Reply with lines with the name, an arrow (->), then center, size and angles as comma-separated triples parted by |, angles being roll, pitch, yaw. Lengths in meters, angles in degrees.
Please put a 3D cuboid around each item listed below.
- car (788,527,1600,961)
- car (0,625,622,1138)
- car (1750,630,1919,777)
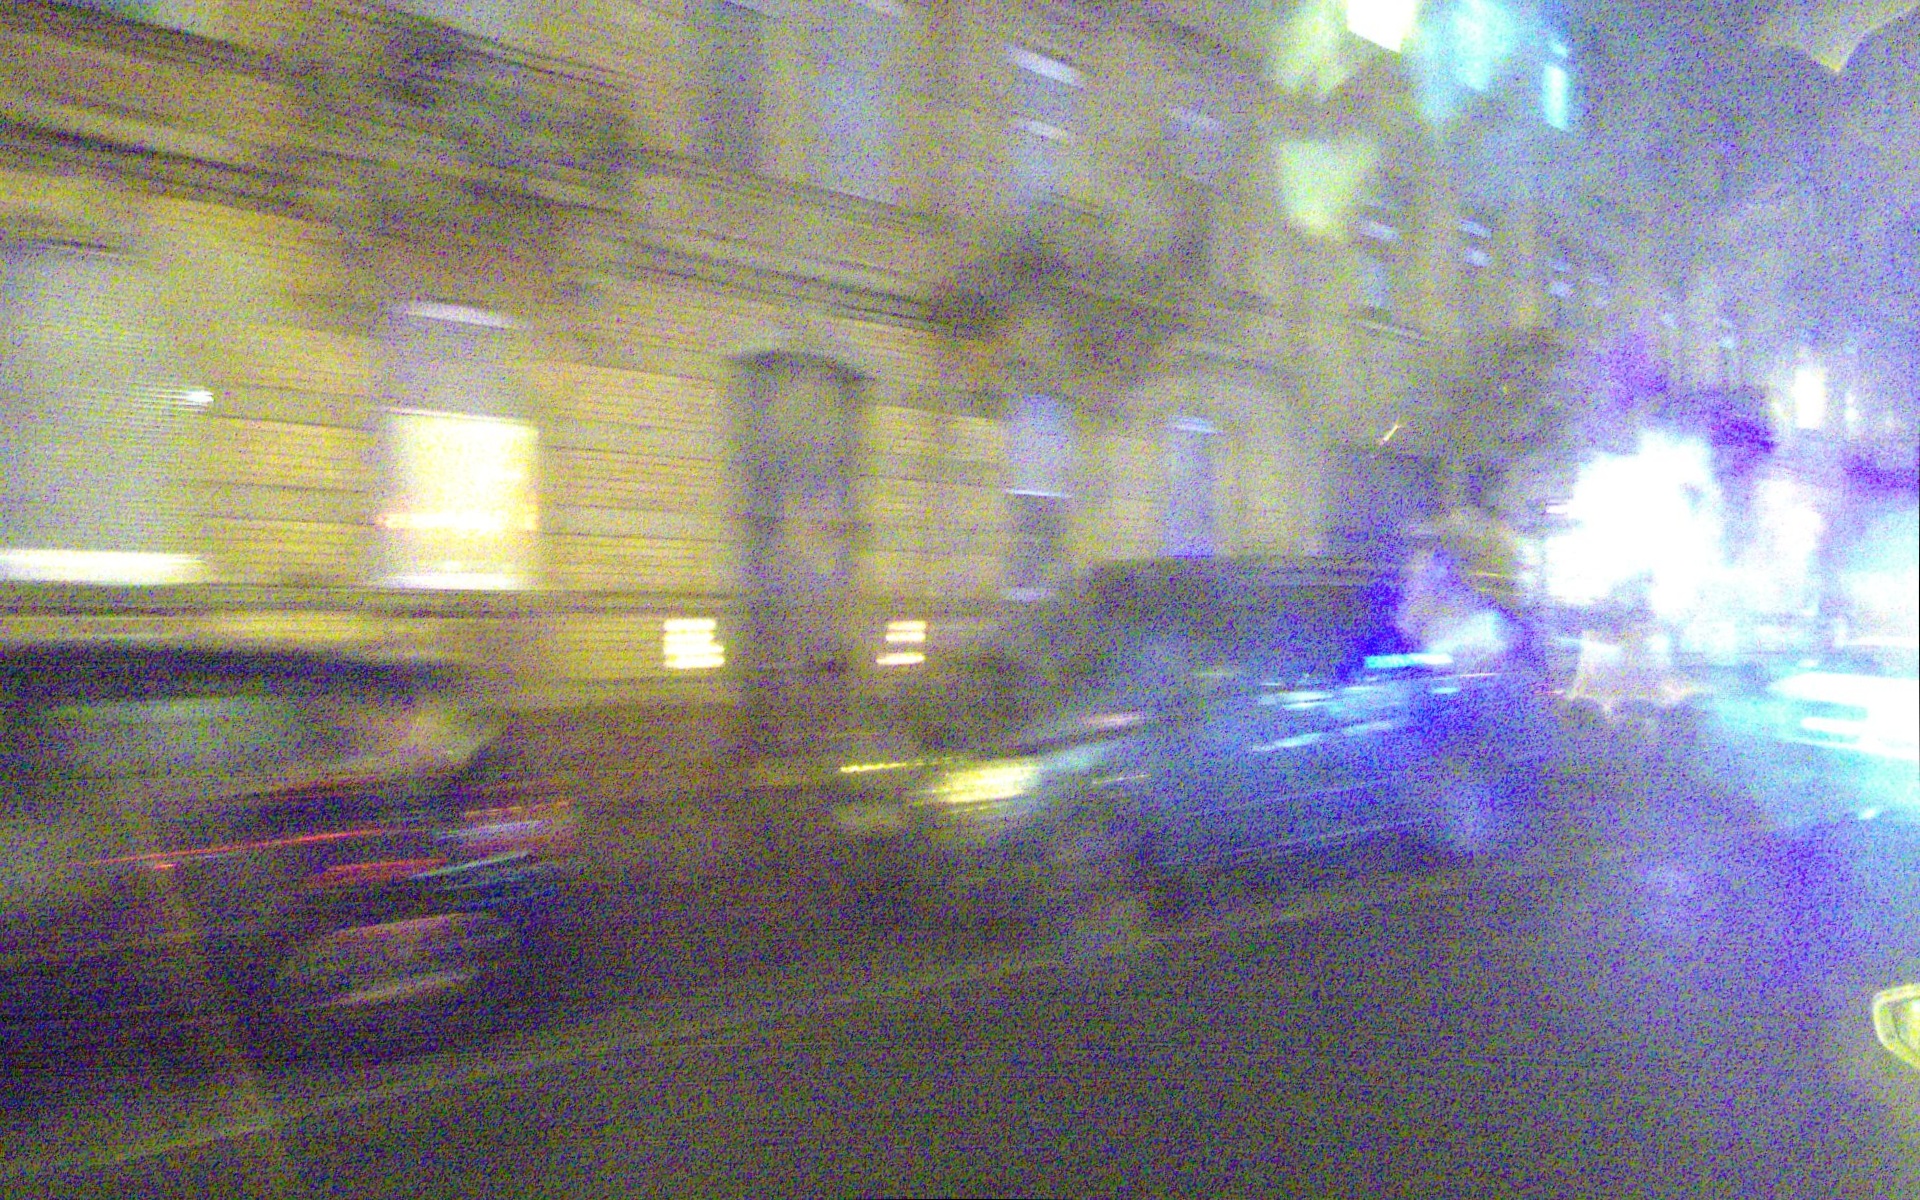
car -> 1.675, 0.675, 6.463 | 5.145, 1.853, 1.987 | 1, -2, -30
car -> -3.244, 0.830, 3.534 | 3.676, 1.479, 1.562 | 1, -2, -30
car -> 12.087, 1.171, 12.601 | 4.715, 1.503, 1.759 | 1, 1, -30
